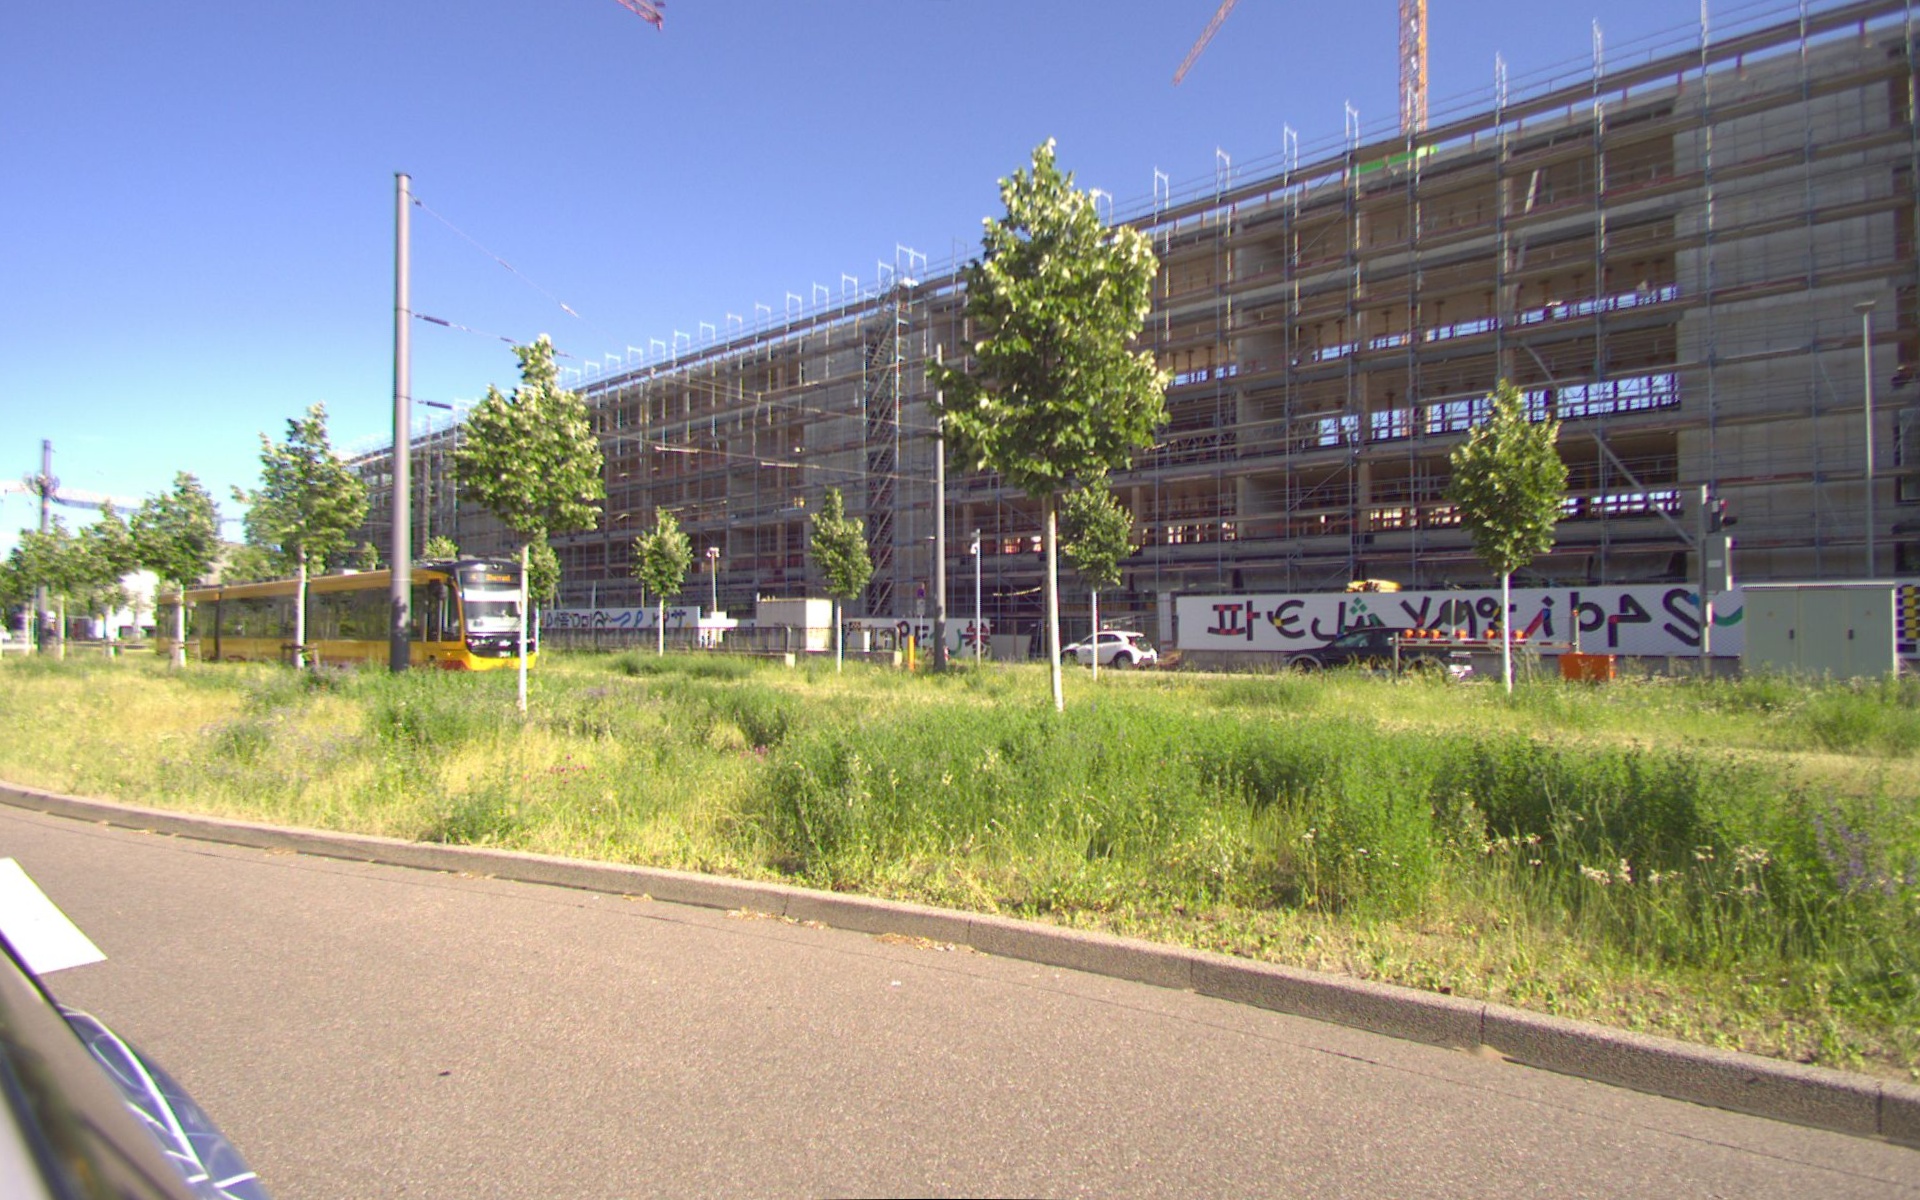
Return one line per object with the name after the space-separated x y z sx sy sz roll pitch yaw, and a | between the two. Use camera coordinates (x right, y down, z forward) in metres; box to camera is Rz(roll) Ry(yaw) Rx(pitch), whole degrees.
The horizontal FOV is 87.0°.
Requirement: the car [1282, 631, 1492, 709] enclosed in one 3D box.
10.802 1.712 25.779 4.524 1.806 1.973 -2 -2 41 | car

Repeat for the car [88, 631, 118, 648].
-113.633 5.263 134.125 4.394 2.175 2.308 -2 -2 40 | car

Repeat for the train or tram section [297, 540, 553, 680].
-17.220 0.422 31.849 12.784 3.666 2.786 -2 -2 42 | train or tram section

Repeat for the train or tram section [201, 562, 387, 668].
-26.816 0.663 40.314 12.782 3.666 2.786 -2 -2 41 | train or tram section

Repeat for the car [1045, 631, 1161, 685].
5.392 2.150 38.409 3.980 1.933 1.891 -2 -2 38 | car

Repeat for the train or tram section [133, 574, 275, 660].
-36.529 0.892 48.603 12.782 3.666 2.786 -2 -2 41 | train or tram section
